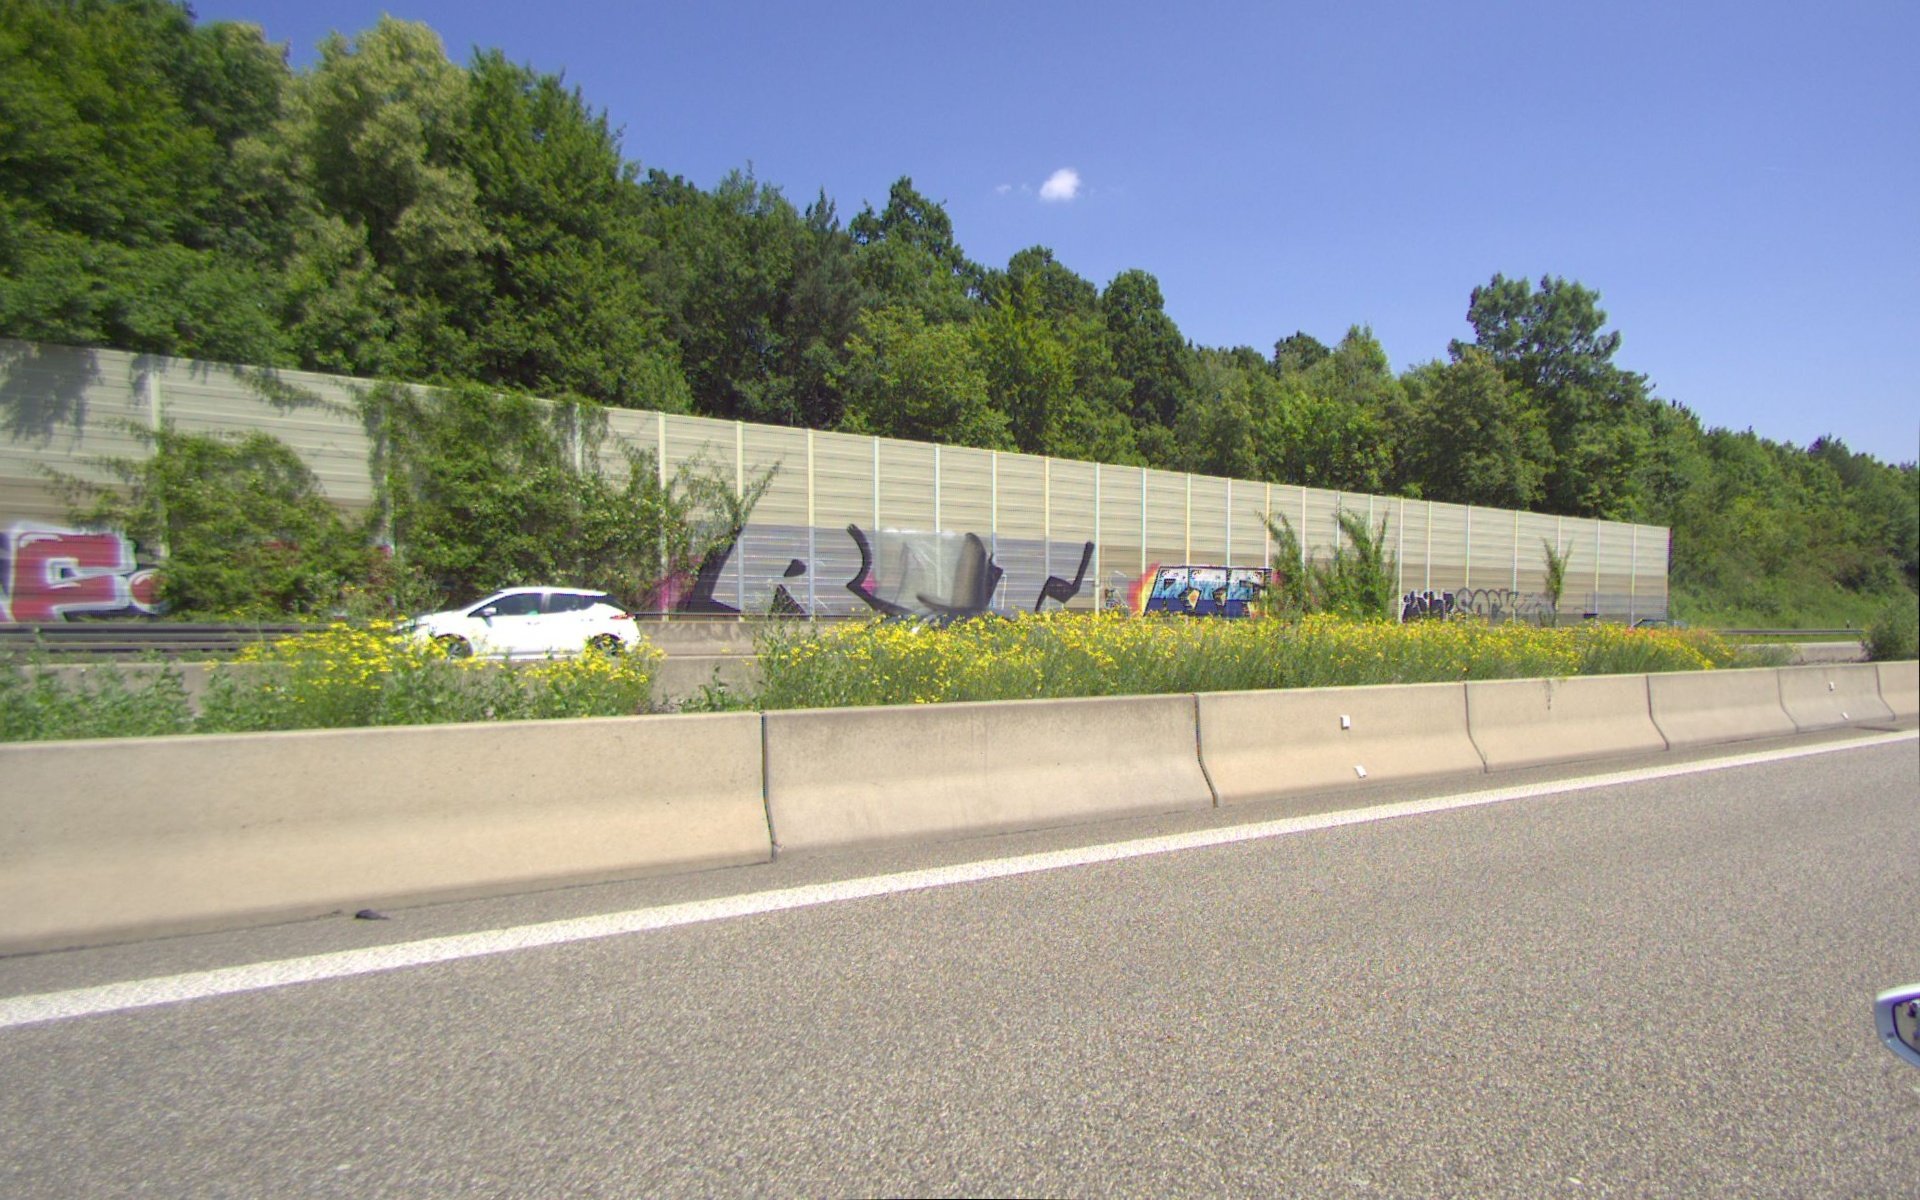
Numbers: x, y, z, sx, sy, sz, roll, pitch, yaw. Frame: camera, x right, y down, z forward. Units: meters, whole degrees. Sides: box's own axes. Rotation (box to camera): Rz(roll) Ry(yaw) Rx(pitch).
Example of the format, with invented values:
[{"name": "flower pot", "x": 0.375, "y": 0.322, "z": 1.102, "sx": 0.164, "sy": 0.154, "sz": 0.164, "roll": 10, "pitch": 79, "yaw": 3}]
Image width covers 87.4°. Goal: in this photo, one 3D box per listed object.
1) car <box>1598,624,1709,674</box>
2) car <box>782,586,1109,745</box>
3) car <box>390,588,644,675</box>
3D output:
[{"name": "car", "x": 24.980, "y": 1.760, "z": 36.160, "sx": 4.140, "sy": 1.662, "sz": 1.731, "roll": 2, "pitch": -1, "yaw": -31}, {"name": "car", "x": -0.134, "y": 0.737, "z": 12.280, "sx": 3.669, "sy": 1.673, "sz": 1.634, "roll": 2, "pitch": 0, "yaw": -31}, {"name": "car", "x": -8.373, "y": 0.575, "z": 19.095, "sx": 4.261, "sy": 1.502, "sz": 1.622, "roll": 1, "pitch": 0, "yaw": -30}]
